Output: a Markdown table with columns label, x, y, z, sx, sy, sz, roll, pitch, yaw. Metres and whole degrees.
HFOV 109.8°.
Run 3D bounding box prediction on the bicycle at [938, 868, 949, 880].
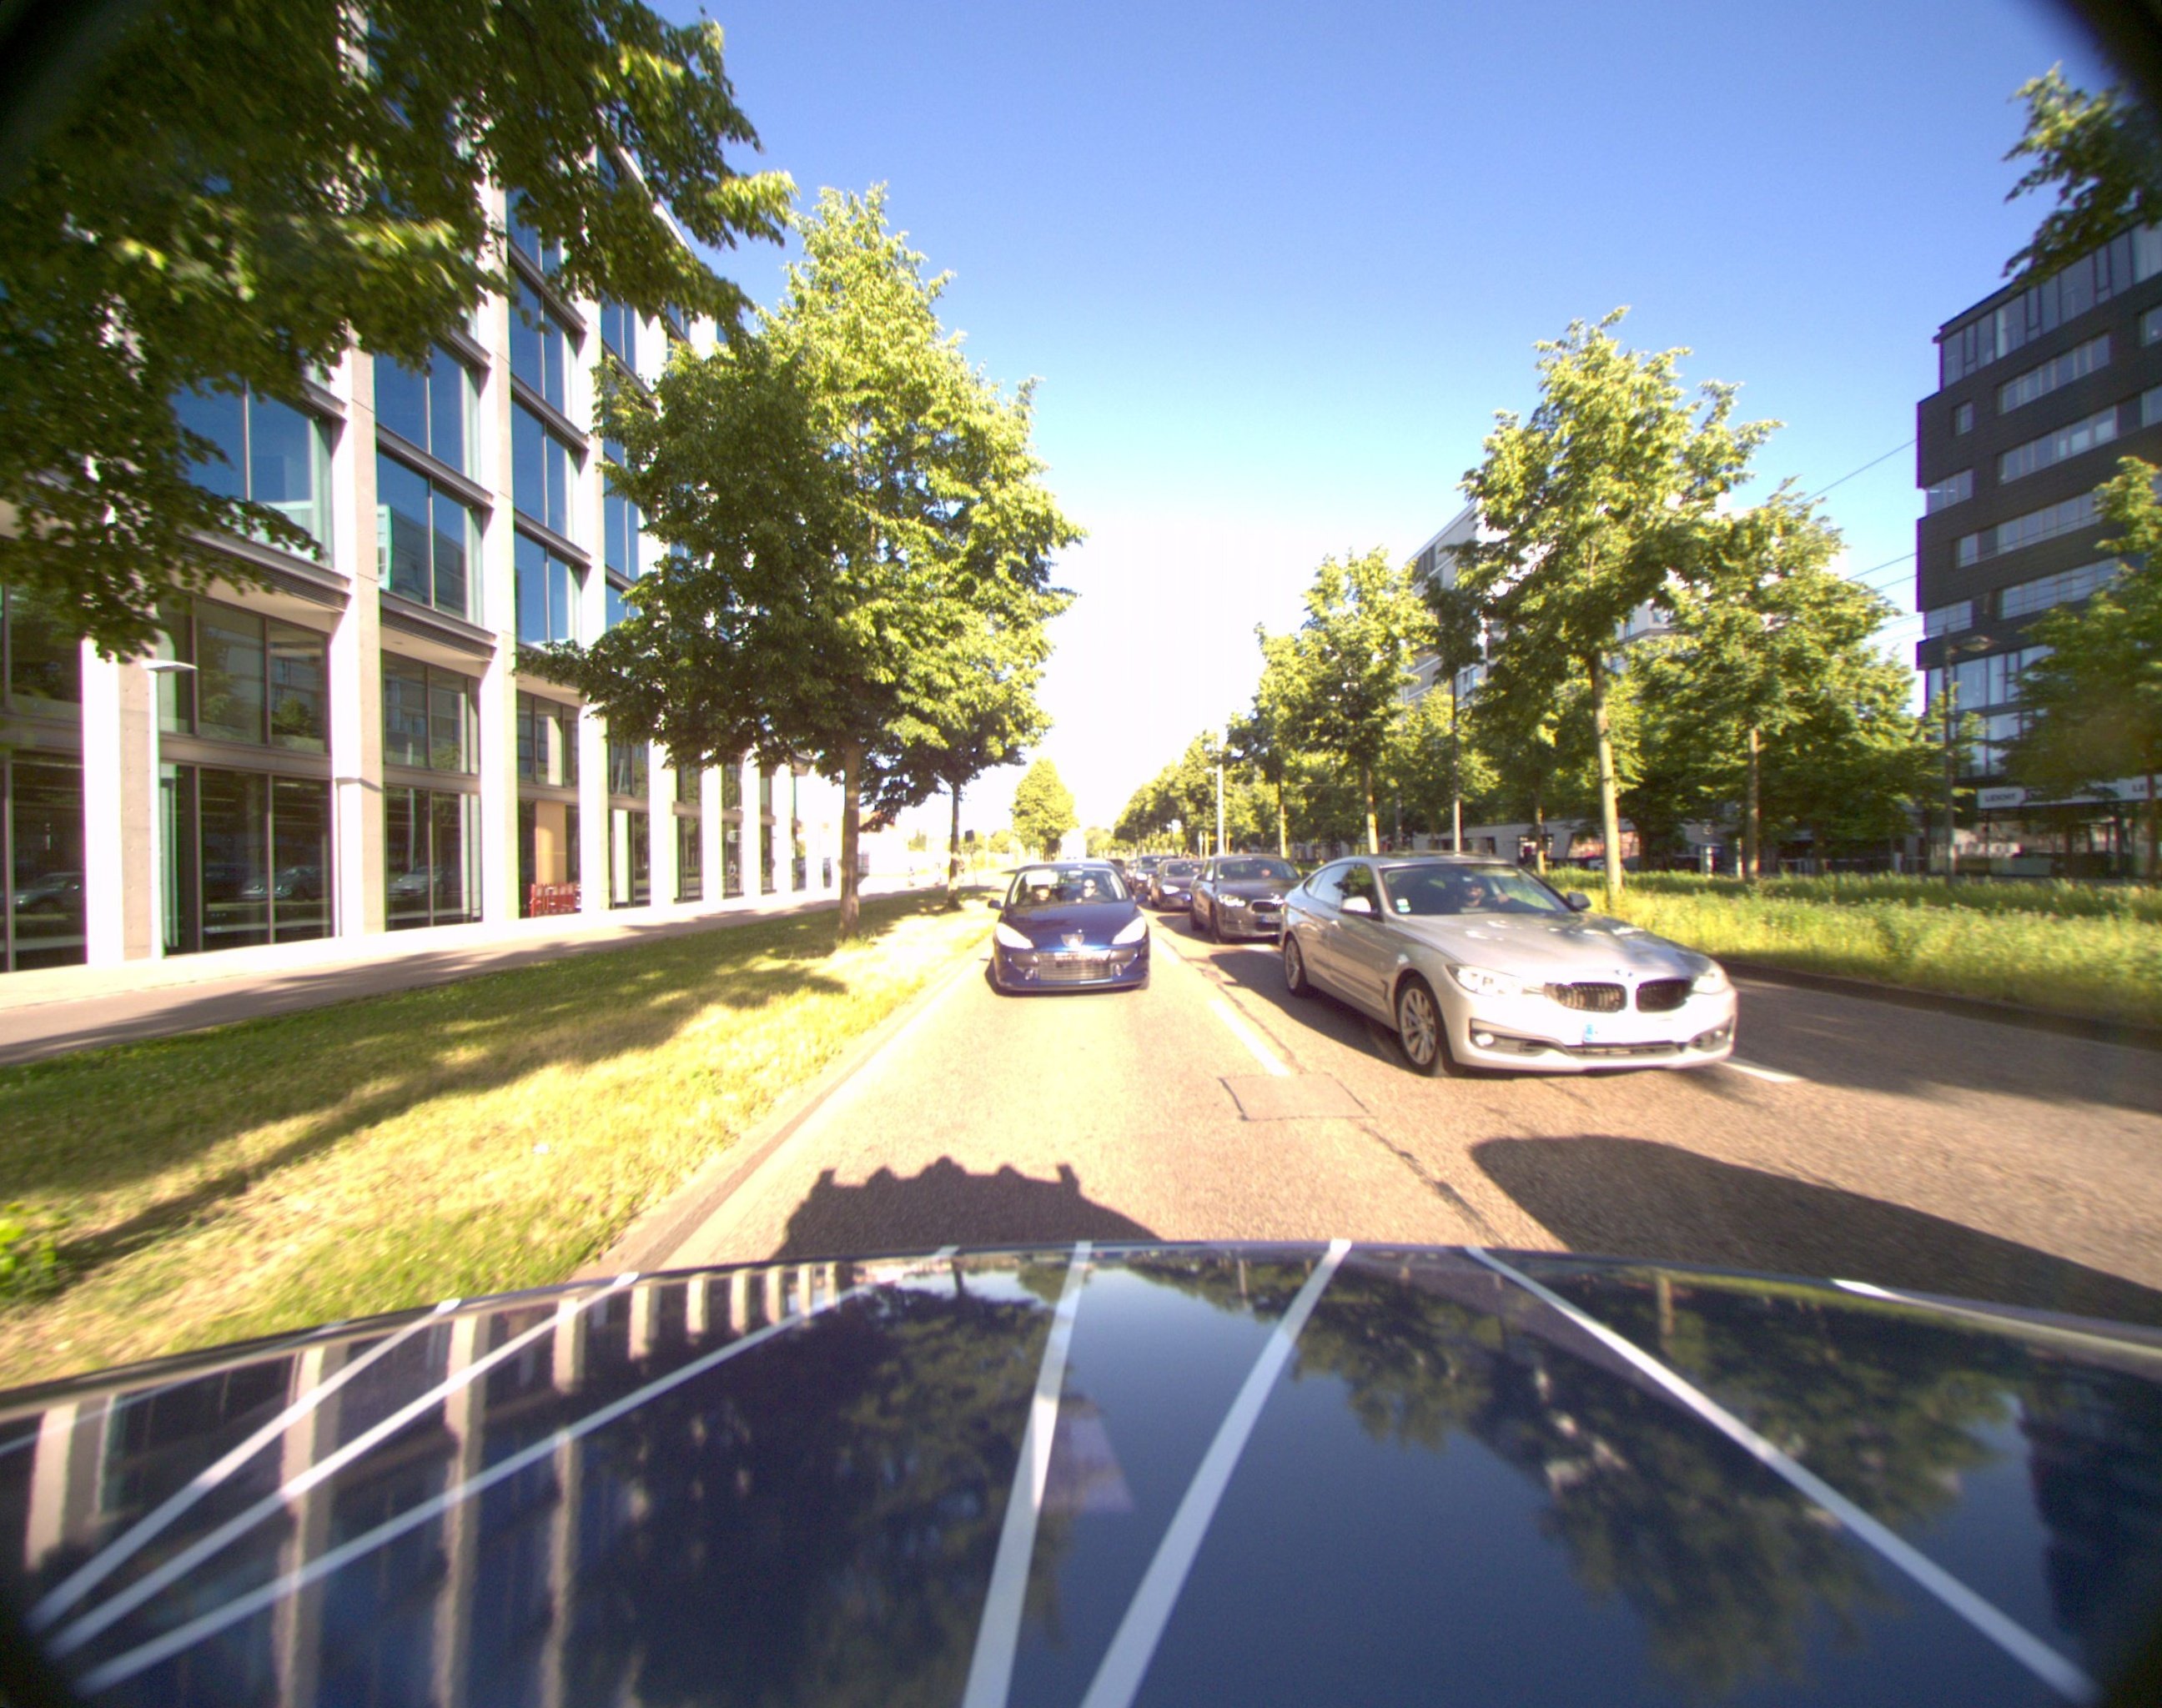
| label | x | y | z | sx | sy | sz | roll | pitch | yaw |
| --- | --- | --- | --- | --- | --- | --- | --- | --- | --- |
| bicycle | -9.741 | 1.400 | 53.736 | 0.464 | 0.813 | 1.344 | -2 | 1 | 1 |

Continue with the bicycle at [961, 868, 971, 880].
| label | x | y | z | sx | sy | sz | roll | pitch | yaw |
| --- | --- | --- | --- | --- | --- | --- | --- | --- | --- |
| bicycle | -8.129 | 1.392 | 53.839 | 0.464 | 0.813 | 1.344 | -2 | 1 | 1 |

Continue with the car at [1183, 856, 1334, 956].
| label | x | y | z | sx | sy | sz | roll | pitch | yaw |
| --- | --- | --- | --- | --- | --- | --- | --- | --- | --- |
| car | 3.059 | 0.824 | 13.946 | 1.812 | 1.513 | 4.028 | -1 | 0 | 0 |

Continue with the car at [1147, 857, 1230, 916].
| label | x | y | z | sx | sy | sz | roll | pitch | yaw |
| --- | --- | --- | --- | --- | --- | --- | --- | --- | --- |
| car | 2.933 | 0.841 | 21.616 | 1.812 | 1.445 | 4.254 | -1 | 0 | 1 |

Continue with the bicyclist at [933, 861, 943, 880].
| label | x | y | z | sx | sy | sz | roll | pitch | yaw |
| --- | --- | --- | --- | --- | --- | --- | --- | --- | --- |
| bicyclist | -9.292 | 1.045 | 49.306 | 0.534 | 1.210 | 0.507 | -2 | 1 | 1 |

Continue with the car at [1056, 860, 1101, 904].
| label | x | y | z | sx | sy | sz | roll | pitch | yaw |
| --- | --- | --- | --- | --- | --- | --- | --- | --- | --- |
| car | -0.064 | 0.907 | 25.816 | 1.407 | 1.326 | 3.785 | -1 | 0 | 0 |

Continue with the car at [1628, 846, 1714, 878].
| label | x | y | z | sx | sy | sz | roll | pitch | yaw |
| --- | --- | --- | --- | --- | --- | --- | --- | --- | --- |
| car | 33.899 | 0.419 | 43.822 | 1.858 | 1.739 | 4.000 | -1 | 0 | 0 |

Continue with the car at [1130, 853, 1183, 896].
| label | x | y | z | sx | sy | sz | roll | pitch | yaw |
| --- | --- | --- | --- | --- | --- | --- | --- | --- | --- |
| car | 2.982 | 0.787 | 30.764 | 1.812 | 1.581 | 4.165 | -1 | 0 | 1 |

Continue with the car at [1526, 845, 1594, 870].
| label | x | y | z | sx | sy | sz | roll | pitch | yaw |
| --- | --- | --- | --- | --- | --- | --- | --- | --- | --- |
| car | 33.991 | 0.204 | 54.076 | 1.858 | 1.674 | 4.792 | -1 | 0 | 0 |

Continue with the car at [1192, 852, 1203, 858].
| label | x | y | z | sx | sy | sz | roll | pitch | yaw |
| --- | --- | --- | --- | --- | --- | --- | --- | --- | --- |
| car | 25.674 | 0.187 | 167.272 | 1.666 | 1.384 | 4.000 | -1 | 0 | 0 |

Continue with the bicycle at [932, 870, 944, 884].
| label | x | y | z | sx | sy | sz | roll | pitch | yaw |
| --- | --- | --- | --- | --- | --- | --- | --- | --- | --- |
| bicycle | -9.267 | 1.468 | 49.250 | 0.464 | 0.813 | 1.344 | -2 | 1 | 1 |

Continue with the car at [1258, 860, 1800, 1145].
| label | x | y | z | sx | sy | sz | roll | pitch | yaw |
| --- | --- | --- | --- | --- | --- | --- | --- | --- | --- |
| car | 3.021 | 0.836 | 6.542 | 1.813 | 1.480 | 4.742 | -1 | 0 | -1 |

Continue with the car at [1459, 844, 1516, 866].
| label | x | y | z | sx | sy | sz | roll | pitch | yaw |
| --- | --- | --- | --- | --- | --- | --- | --- | --- | --- |
| car | 34.298 | 0.073 | 64.204 | 2.012 | 1.689 | 4.790 | -1 | 0 | -4 |

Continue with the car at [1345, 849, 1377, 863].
| label | x | y | z | sx | sy | sz | roll | pitch | yaw |
| --- | --- | --- | --- | --- | --- | --- | --- | --- | --- |
| car | 33.835 | 0.239 | 92.037 | 2.012 | 1.689 | 4.791 | -1 | 0 | -1 |

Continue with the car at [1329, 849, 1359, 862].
| label | x | y | z | sx | sy | sz | roll | pitch | yaw |
| --- | --- | --- | --- | --- | --- | --- | --- | --- | --- |
| car | 33.806 | 0.188 | 97.844 | 2.012 | 1.689 | 4.791 | -1 | 0 | -1 |

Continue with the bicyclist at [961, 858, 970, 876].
| label | x | y | z | sx | sy | sz | roll | pitch | yaw |
| --- | --- | --- | --- | --- | --- | --- | --- | --- | --- |
| bicyclist | -8.177 | 0.921 | 53.939 | 0.534 | 1.282 | 0.521 | -2 | 1 | 1 |

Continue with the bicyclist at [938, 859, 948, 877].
| label | x | y | z | sx | sy | sz | roll | pitch | yaw |
| --- | --- | --- | --- | --- | --- | --- | --- | --- | --- |
| bicyclist | -9.765 | 0.972 | 53.712 | 0.534 | 1.282 | 0.457 | -2 | 1 | 1 |

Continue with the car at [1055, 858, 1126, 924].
| label | x | y | z | sx | sy | sz | roll | pitch | yaw |
| --- | --- | --- | --- | --- | --- | --- | --- | --- | --- |
| car | 0.229 | 0.873 | 19.699 | 1.612 | 1.463 | 4.395 | -1 | 0 | 0 |

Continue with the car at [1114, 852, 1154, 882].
| label | x | y | z | sx | sy | sz | roll | pitch | yaw |
| --- | --- | --- | --- | --- | --- | --- | --- | --- | --- |
| car | 3.199 | 0.757 | 46.979 | 2.012 | 1.689 | 4.791 | -1 | 0 | -1 |

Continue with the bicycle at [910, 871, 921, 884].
| label | x | y | z | sx | sy | sz | roll | pitch | yaw |
| --- | --- | --- | --- | --- | --- | --- | --- | --- | --- |
| bicycle | -10.657 | 1.514 | 48.908 | 0.415 | 0.813 | 1.320 | -2 | 1 | 1 |

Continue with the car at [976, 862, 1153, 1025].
| label | x | y | z | sx | sy | sz | roll | pitch | yaw |
| --- | --- | --- | --- | --- | --- | --- | --- | --- | --- |
| car | -0.156 | 0.886 | 9.255 | 1.686 | 1.513 | 3.785 | -1 | 0 | 0 |

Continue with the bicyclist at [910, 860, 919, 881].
| label | x | y | z | sx | sy | sz | roll | pitch | yaw |
| --- | --- | --- | --- | --- | --- | --- | --- | --- | --- |
| bicyclist | -10.679 | 1.057 | 48.734 | 0.448 | 1.282 | 0.418 | -2 | 1 | 1 |

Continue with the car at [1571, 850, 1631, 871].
| label | x | y | z | sx | sy | sz | roll | pitch | yaw |
| --- | --- | --- | --- | --- | --- | --- | --- | --- | --- |
| car | 38.438 | 0.482 | 56.318 | 1.757 | 1.496 | 4.000 | -1 | 0 | 1 |

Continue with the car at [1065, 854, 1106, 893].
| label | x | y | z | sx | sy | sz | roll | pitch | yaw |
| --- | --- | --- | --- | --- | --- | --- | --- | --- | --- |
| car | 0.196 | 0.802 | 33.703 | 1.705 | 1.591 | 3.785 | -1 | 0 | 0 |

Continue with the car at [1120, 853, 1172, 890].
| label | x | y | z | sx | sy | sz | roll | pitch | yaw |
| --- | --- | --- | --- | --- | --- | --- | --- | --- | --- |
| car | 3.116 | 0.795 | 37.367 | 2.012 | 1.689 | 4.791 | -1 | 0 | -1 |

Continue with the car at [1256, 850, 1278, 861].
| label | x | y | z | sx | sy | sz | roll | pitch | yaw |
| --- | --- | --- | --- | --- | --- | --- | --- | --- | --- |
| car | 25.541 | 0.198 | 104.238 | 1.858 | 1.528 | 4.735 | -1 | 0 | 0 |

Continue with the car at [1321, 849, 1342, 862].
| label | x | y | z | sx | sy | sz | roll | pitch | yaw |
| --- | --- | --- | --- | --- | --- | --- | --- | --- | --- |
| car | 33.767 | 0.191 | 102.673 | 1.601 | 1.659 | 3.743 | -1 | 0 | 0 |
